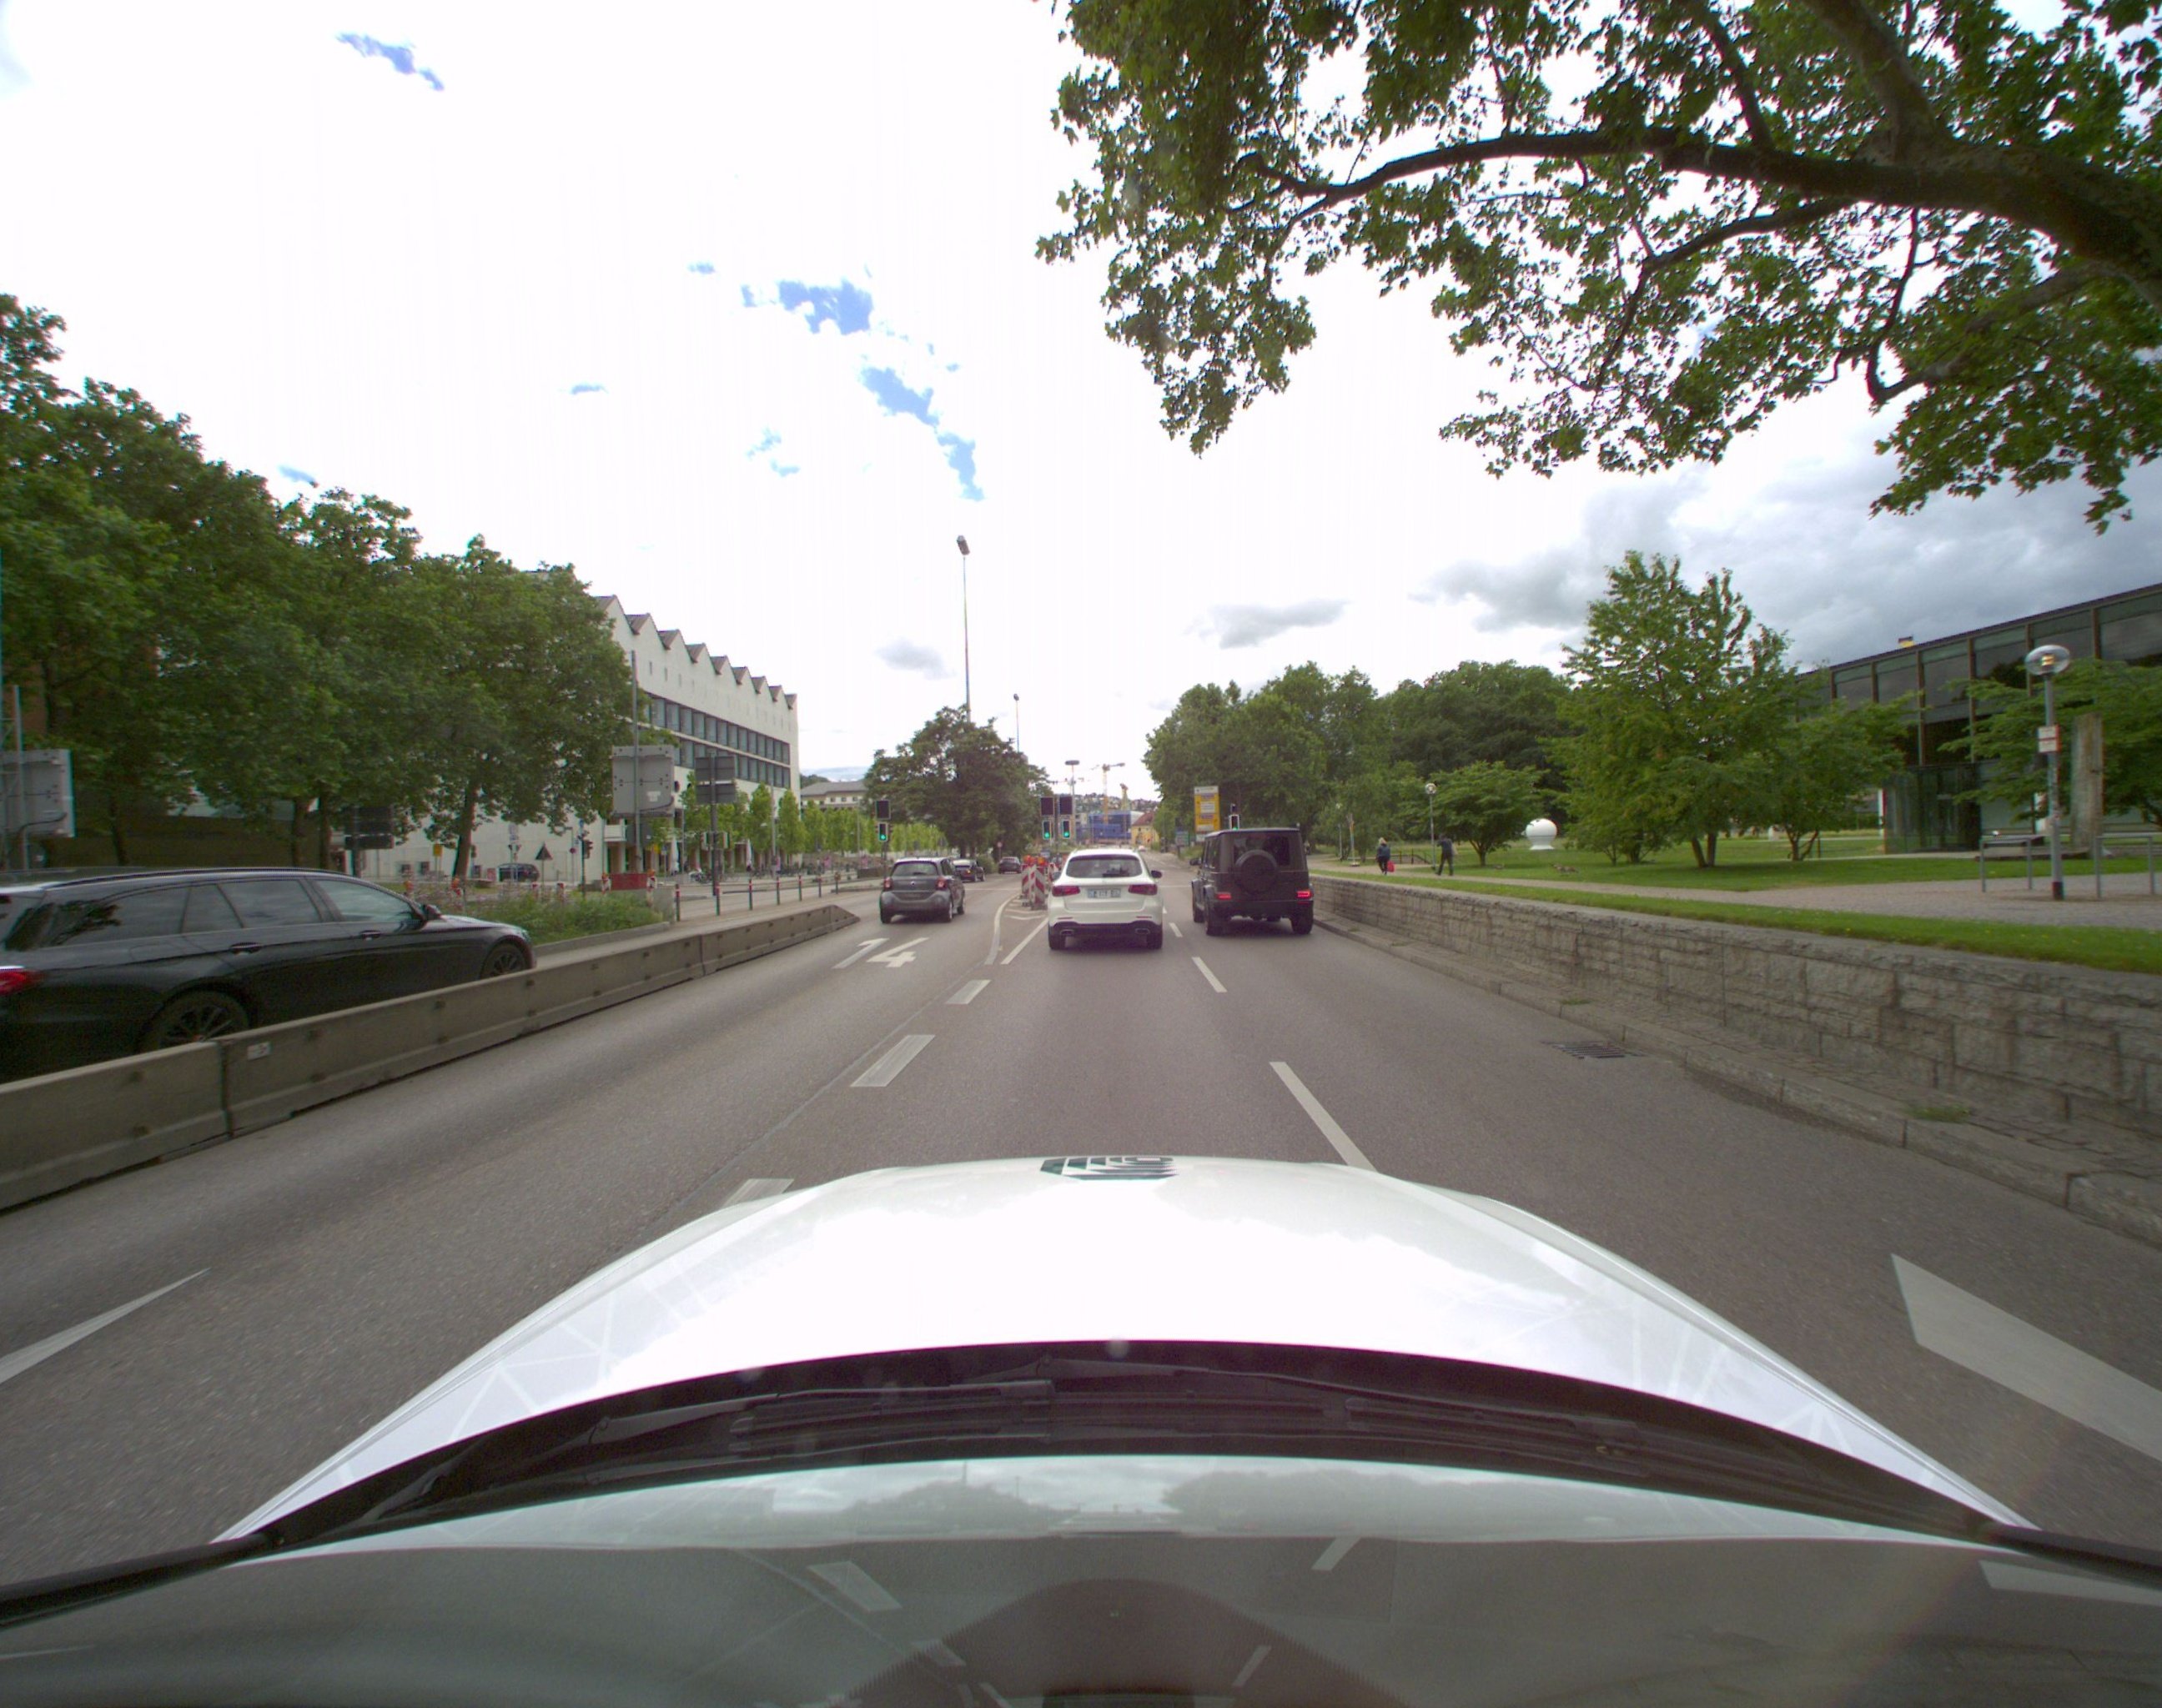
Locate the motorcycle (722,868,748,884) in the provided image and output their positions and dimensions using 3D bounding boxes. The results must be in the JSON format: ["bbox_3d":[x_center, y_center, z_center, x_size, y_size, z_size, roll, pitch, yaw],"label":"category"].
[{"bbox_3d":[-28.519,1.817,67.134,1.892,1.234,0.653,-2,-2,-24],"label":"motorcycle"}]

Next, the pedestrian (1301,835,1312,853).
[{"bbox_3d":[23.576,-1.039,85.031,0.991,1.836,1.032,0,-1,7],"label":"pedestrian"}]

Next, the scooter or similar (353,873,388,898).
[{"bbox_3d":[-39.173,1.728,44.897,1.409,1.340,0.538,-2,0,1],"label":"scooter or similar"}]

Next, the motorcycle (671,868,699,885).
[{"bbox_3d":[-30.022,1.693,61.756,1.892,1.234,0.653,-2,-2,-24],"label":"motorcycle"}]

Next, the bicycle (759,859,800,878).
[{"bbox_3d":[-30.550,1.472,82.577,3.613,1.684,1.179,-2,0,-10],"label":"bicycle"}]

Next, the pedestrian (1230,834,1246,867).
[{"bbox_3d":[8.052,-0.161,41.907,0.695,1.656,0.684,1,-1,1],"label":"pedestrian"}]

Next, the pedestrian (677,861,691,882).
[{"bbox_3d":[-31.345,1.374,64.309,0.887,1.557,0.591,-2,0,-41],"label":"pedestrian"}]

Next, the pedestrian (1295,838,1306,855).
[{"bbox_3d":[21.820,-0.745,80.941,0.892,1.732,0.969,1,0,2],"label":"pedestrian"}]

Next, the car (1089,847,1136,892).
[{"bbox_3d":[1.218,0.596,31.546,1.666,1.628,4.001,1,-1,2],"label":"car"}]

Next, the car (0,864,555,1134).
[{"bbox_3d":[-6.808,0.819,6.716,1.807,1.460,4.860,0,-1,-1],"label":"car"}]

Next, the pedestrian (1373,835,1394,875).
[{"bbox_3d":[11.988,0.027,32.296,0.677,1.562,0.913,-2,0,19],"label":"pedestrian"}]

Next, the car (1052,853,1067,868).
[{"bbox_3d":[-2.482,0.730,93.098,1.715,1.584,3.996,1,0,-3],"label":"car"}]

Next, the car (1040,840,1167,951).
[{"bbox_3d":[0.372,0.662,14.476,1.934,1.684,4.000,1,-1,1],"label":"car"}]

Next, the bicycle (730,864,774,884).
[{"bbox_3d":[-31.002,1.855,76.807,3.601,1.684,1.183,-2,0,-1],"label":"bicycle"}]

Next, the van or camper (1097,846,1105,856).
[{"bbox_3d":[5.128,-0.710,205.826,1.916,2.320,4.000,-1,-2,1],"label":"van or camper"}]

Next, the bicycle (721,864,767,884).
[{"bbox_3d":[-30.740,1.804,74.375,3.601,1.684,1.183,-2,0,-1],"label":"bicycle"}]

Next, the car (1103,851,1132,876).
[{"bbox_3d":[2.408,0.612,54.607,1.714,1.584,3.999,1,0,0],"label":"car"}]

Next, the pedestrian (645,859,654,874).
[{"bbox_3d":[-39.691,1.141,74.877,0.517,1.327,0.565,-3,-2,1],"label":"pedestrian"}]

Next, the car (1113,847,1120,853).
[{"bbox_3d":[9.309,-1.008,215.028,1.714,1.584,3.999,1,0,0],"label":"car"}]

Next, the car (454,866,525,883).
[{"bbox_3d":[-43.927,1.521,60.495,3.973,1.276,1.752,0,-1,1],"label":"car"}]

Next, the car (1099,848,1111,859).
[{"bbox_3d":[4.194,-0.097,143.140,1.985,1.757,4.003,1,-1,3],"label":"car"}]

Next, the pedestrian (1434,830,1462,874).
[{"bbox_3d":[14.039,-0.070,31.137,0.797,1.626,0.628,-2,0,9],"label":"pedestrian"}]

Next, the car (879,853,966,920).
[{"bbox_3d":[-3.825,0.754,20.152,1.623,1.509,3.536,0,-1,-3],"label":"car"}]

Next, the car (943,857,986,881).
[{"bbox_3d":[-6.781,0.832,47.788,1.712,1.292,4.003,1,0,3],"label":"car"}]

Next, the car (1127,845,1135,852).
[{"bbox_3d":[12.032,-1.400,195.639,1.714,1.584,3.999,1,0,0],"label":"car"}]

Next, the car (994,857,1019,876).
[{"bbox_3d":[-6.449,1.073,71.113,1.747,1.553,4.000,1,0,0],"label":"car"}]

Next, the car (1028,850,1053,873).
[{"bbox_3d":[-3.046,0.529,61.437,1.714,1.678,3.999,1,0,0],"label":"car"}]

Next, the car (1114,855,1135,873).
[{"bbox_3d":[4.095,0.891,76.456,1.714,1.584,3.999,1,0,0],"label":"car"}]

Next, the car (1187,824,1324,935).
[{"bbox_3d":[3.336,0.470,16.487,1.970,1.893,4.710,1,-1,3],"label":"car"}]

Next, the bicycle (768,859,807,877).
[{"bbox_3d":[-30.524,1.462,84.723,3.613,1.684,1.179,-2,0,-10],"label":"bicycle"}]

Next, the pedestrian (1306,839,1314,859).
[{"bbox_3d":[23.453,-0.547,83.371,0.568,2.014,0.933,1,-1,2],"label":"pedestrian"}]

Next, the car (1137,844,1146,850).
[{"bbox_3d":[15.900,-1.890,214.763,1.989,1.618,3.995,1,-1,-3],"label":"car"}]
